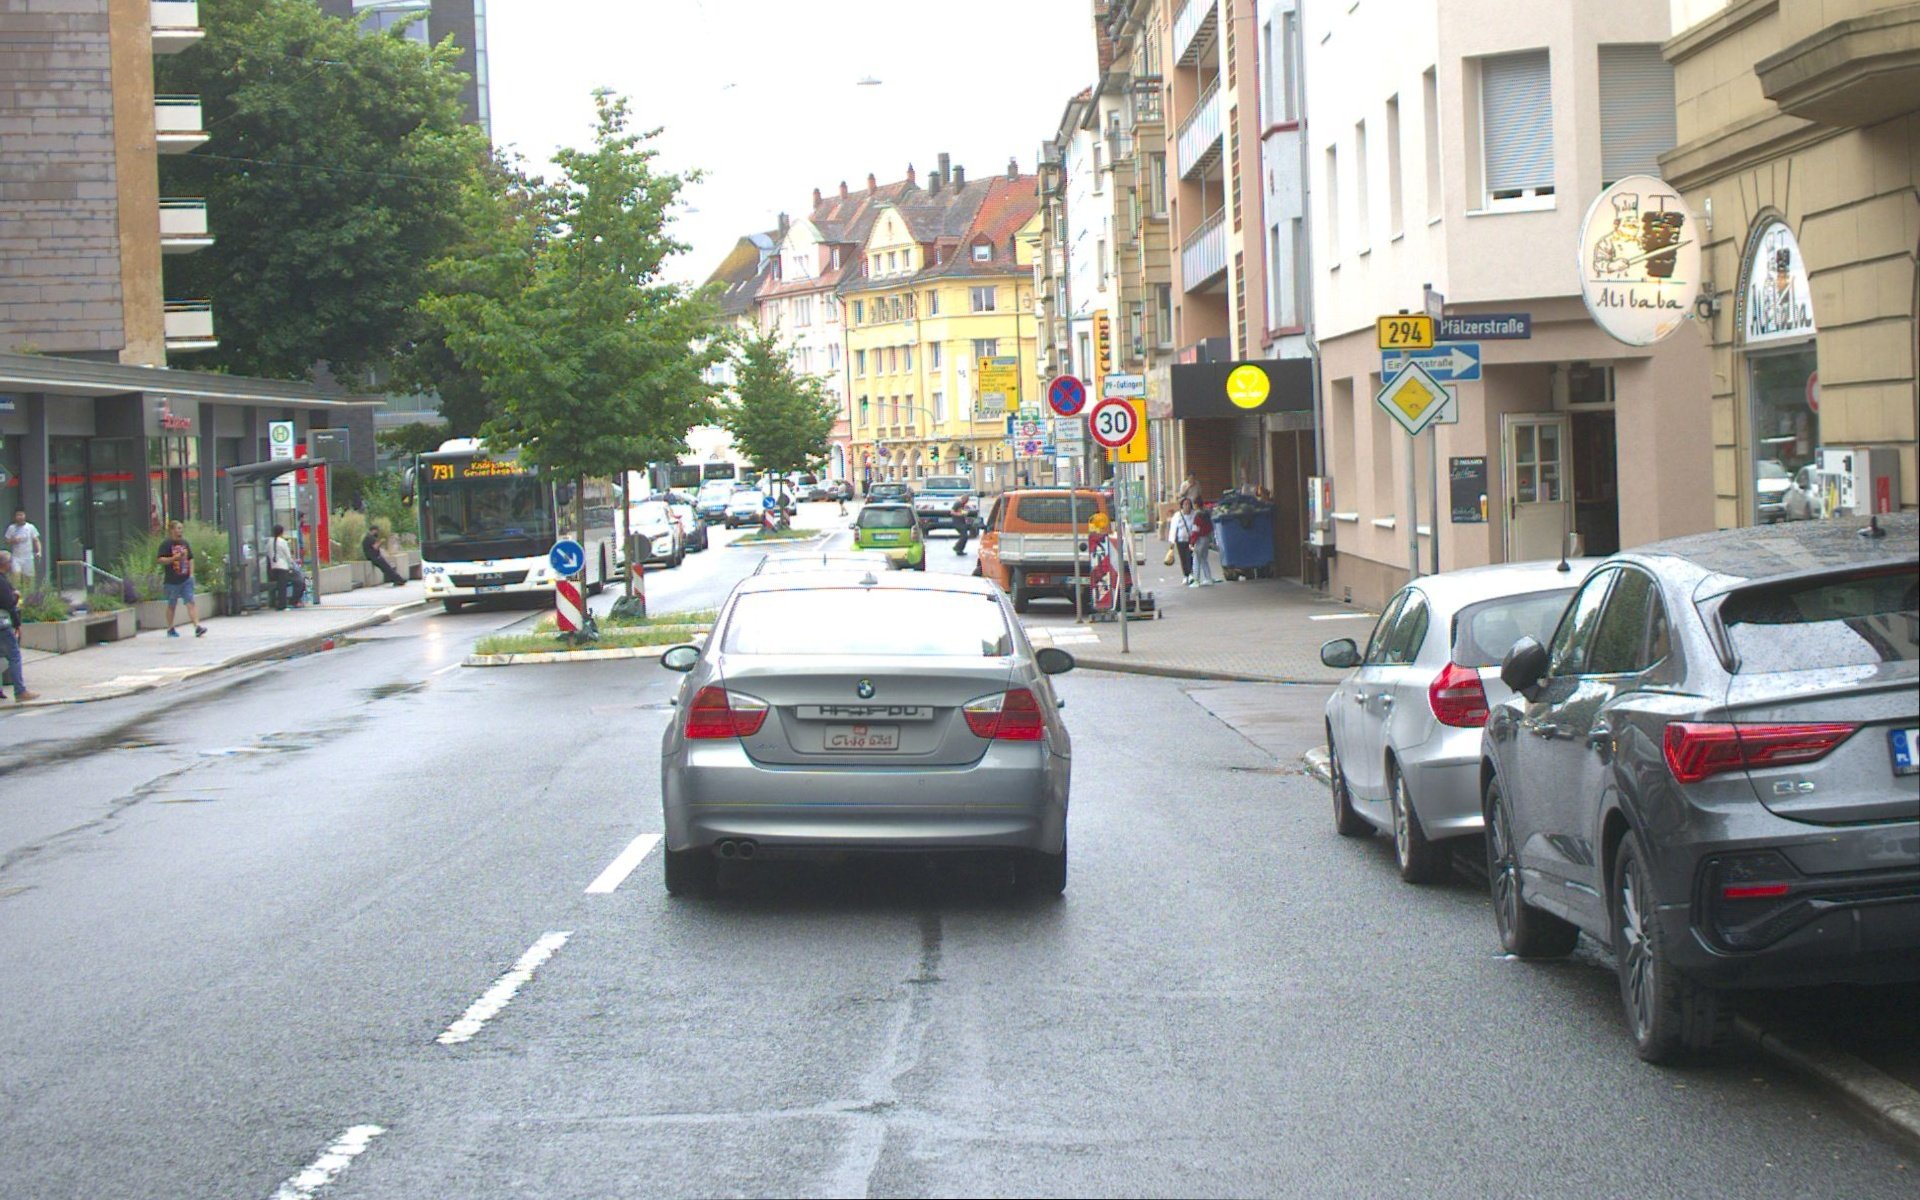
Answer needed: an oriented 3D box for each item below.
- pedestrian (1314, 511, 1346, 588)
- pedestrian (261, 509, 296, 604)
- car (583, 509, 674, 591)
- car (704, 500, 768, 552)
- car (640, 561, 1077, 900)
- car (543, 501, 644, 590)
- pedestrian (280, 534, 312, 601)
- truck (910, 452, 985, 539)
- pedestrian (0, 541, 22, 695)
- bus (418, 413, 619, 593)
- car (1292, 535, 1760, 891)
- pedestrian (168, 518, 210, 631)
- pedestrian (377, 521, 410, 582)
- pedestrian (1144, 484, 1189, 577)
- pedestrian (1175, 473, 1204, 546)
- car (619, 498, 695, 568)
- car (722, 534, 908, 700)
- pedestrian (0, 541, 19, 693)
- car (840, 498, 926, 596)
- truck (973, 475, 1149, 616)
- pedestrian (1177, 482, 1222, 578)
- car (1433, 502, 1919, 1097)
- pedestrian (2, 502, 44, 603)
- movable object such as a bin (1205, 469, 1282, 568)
[{"bbox_3d":[5.938,-0.810,55.107,0.412,1.199,0.357,-4,2,2],"label":"pedestrian"},{"bbox_3d":[-12.329,-0.785,62.198,0.542,1.703,0.466,1,0,-7],"label":"pedestrian"},{"bbox_3d":[-8.434,-1.251,87.779,1.993,2.007,4.000,2,0,-1],"label":"car"},{"bbox_3d":[-9.225,-3.042,141.917,1.994,2.007,3.999,1,0,5],"label":"car"},{"bbox_3d":[-0.422,0.525,15.436,1.756,1.358,3.165,0,0,0],"label":"car"},{"bbox_3d":[-8.579,-1.254,80.711,1.993,2.007,4.000,1,0,-1],"label":"car"},{"bbox_3d":[-12.379,-0.599,64.089,0.465,1.226,0.544,1,0,1],"label":"pedestrian"},{"bbox_3d":[-0.419,-3.251,107.843,2.216,2.535,4.780,1,0,-1],"label":"truck"},{"bbox_3d":[-10.770,0.194,38.429,0.464,1.703,0.545,1,0,-21],"label":"pedestrian"},{"bbox_3d":[-8.594,-1.769,68.229,2.681,3.190,11.956,1,0,-1],"label":"bus"},{"bbox_3d":[2.661,0.459,17.006,1.569,1.459,4.089,-3,1,0],"label":"car"},{"bbox_3d":[-12.298,-0.411,54.823,0.542,1.784,0.466,1,0,-23],"label":"pedestrian"},{"bbox_3d":[-12.866,-1.098,78.096,0.619,1.373,0.544,1,0,1],"label":"pedestrian"},{"bbox_3d":[3.727,-1.248,61.929,0.749,1.655,0.836,1,0,6],"label":"pedestrian"},{"bbox_3d":[5.341,-2.102,79.857,0.615,1.655,0.754,1,0,6],"label":"pedestrian"},{"bbox_3d":[-9.188,-2.023,104.479,1.993,2.007,4.000,1,0,-1],"label":"car"},{"bbox_3d":[-1.345,0.147,31.671,1.601,1.415,3.288,1,0,-3],"label":"car"},{"bbox_3d":[-11.145,0.202,39.008,0.739,1.703,0.680,-4,2,-21],"label":"pedestrian"},{"bbox_3d":[-1.660,-1.096,73.181,1.705,2.007,4.000,1,0,-3],"label":"car"},{"bbox_3d":[1.580,-0.878,55.635,2.215,2.109,4.653,2,1,-5],"label":"truck"},{"bbox_3d":[4.213,-1.224,60.509,0.752,1.655,0.752,1,0,3],"label":"pedestrian"},{"bbox_3d":[2.821,0.481,11.442,1.818,1.552,4.293,-3,1,0],"label":"car"},{"bbox_3d":[-15.932,-0.802,58.474,0.659,1.700,0.660,1,0,-15],"label":"pedestrian"},{"bbox_3d":[5.094,-1.454,61.825,1.122,1.697,1.434,-3,0,-3],"label":"movable object such as a bin"}]
